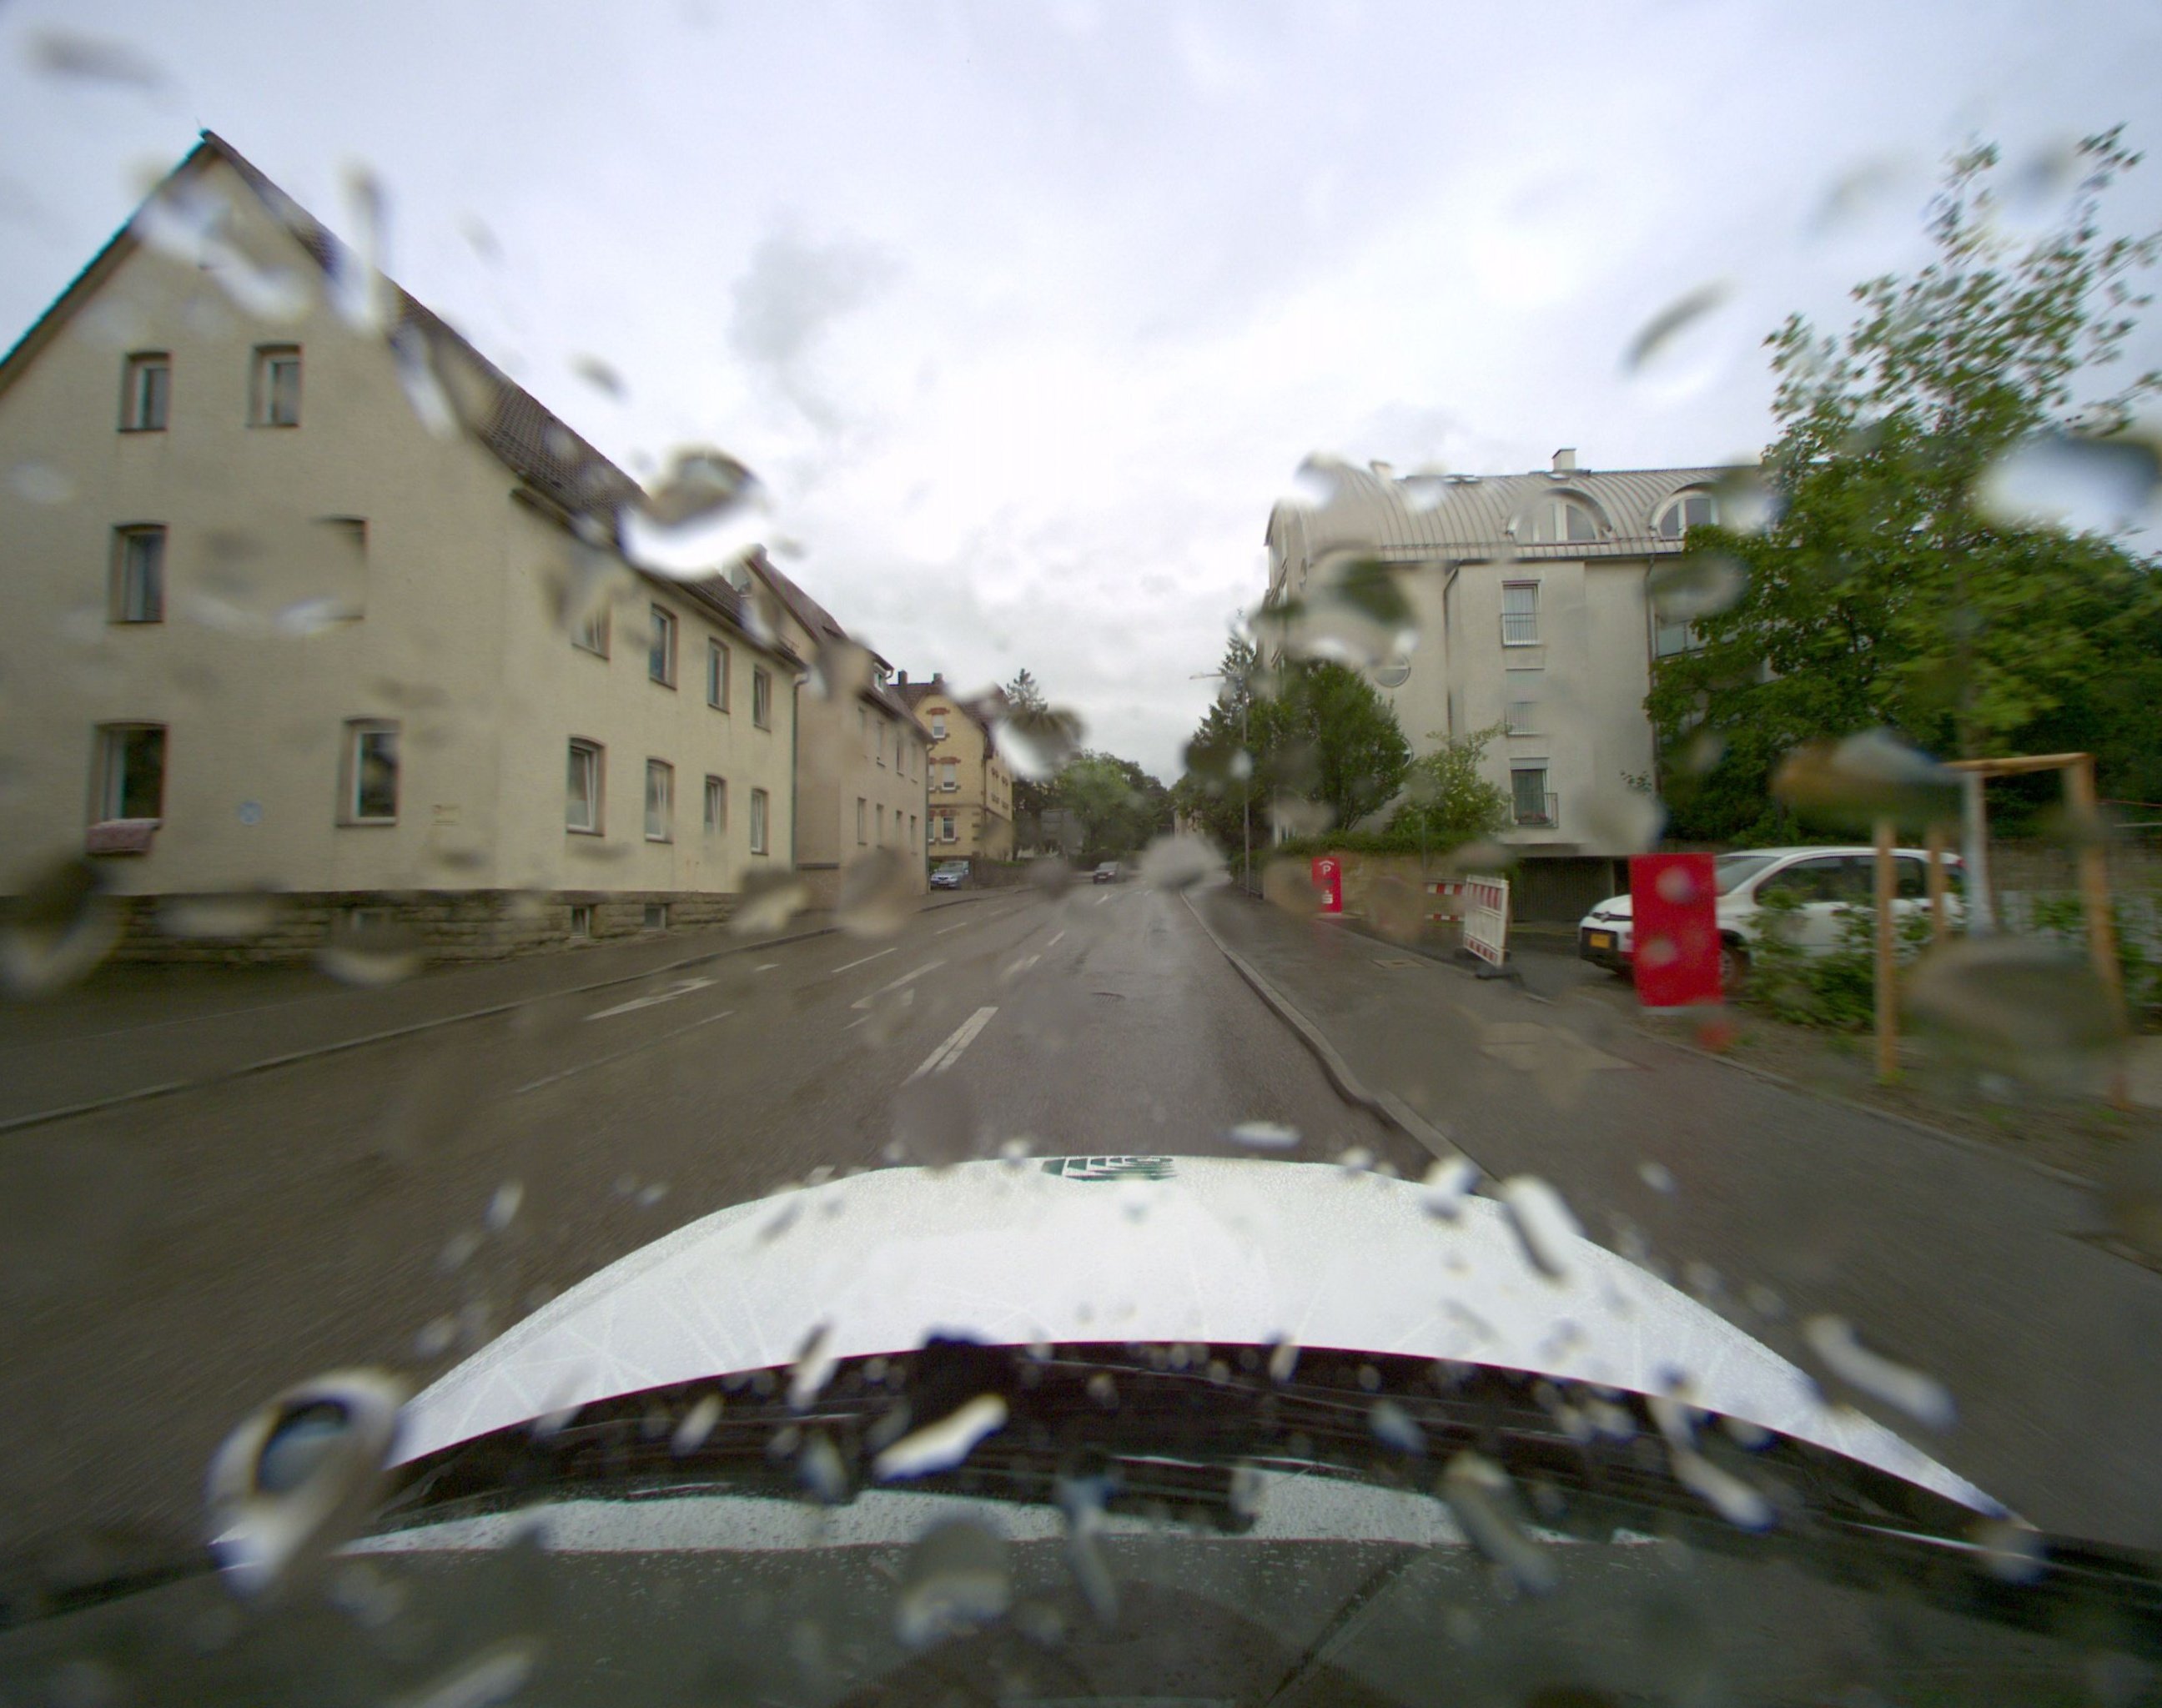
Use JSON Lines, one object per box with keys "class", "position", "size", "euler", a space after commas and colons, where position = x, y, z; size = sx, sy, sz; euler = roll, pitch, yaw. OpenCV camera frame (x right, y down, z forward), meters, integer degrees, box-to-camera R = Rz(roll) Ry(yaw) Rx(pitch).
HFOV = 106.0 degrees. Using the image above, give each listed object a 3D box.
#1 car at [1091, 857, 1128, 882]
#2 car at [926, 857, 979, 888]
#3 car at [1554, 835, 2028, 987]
{"class": "car", "position": [1.970, 1.031, 55.362], "size": [1.733, 1.571, 3.827], "euler": [2, 0, 14]}
{"class": "car", "position": [-6.683, 0.918, 42.780], "size": [1.761, 1.503, 3.890], "euler": [0, 0, 6]}
{"class": "car", "position": [7.572, 0.557, 9.017], "size": [3.651, 1.503, 1.778], "euler": [0, 0, 3]}
